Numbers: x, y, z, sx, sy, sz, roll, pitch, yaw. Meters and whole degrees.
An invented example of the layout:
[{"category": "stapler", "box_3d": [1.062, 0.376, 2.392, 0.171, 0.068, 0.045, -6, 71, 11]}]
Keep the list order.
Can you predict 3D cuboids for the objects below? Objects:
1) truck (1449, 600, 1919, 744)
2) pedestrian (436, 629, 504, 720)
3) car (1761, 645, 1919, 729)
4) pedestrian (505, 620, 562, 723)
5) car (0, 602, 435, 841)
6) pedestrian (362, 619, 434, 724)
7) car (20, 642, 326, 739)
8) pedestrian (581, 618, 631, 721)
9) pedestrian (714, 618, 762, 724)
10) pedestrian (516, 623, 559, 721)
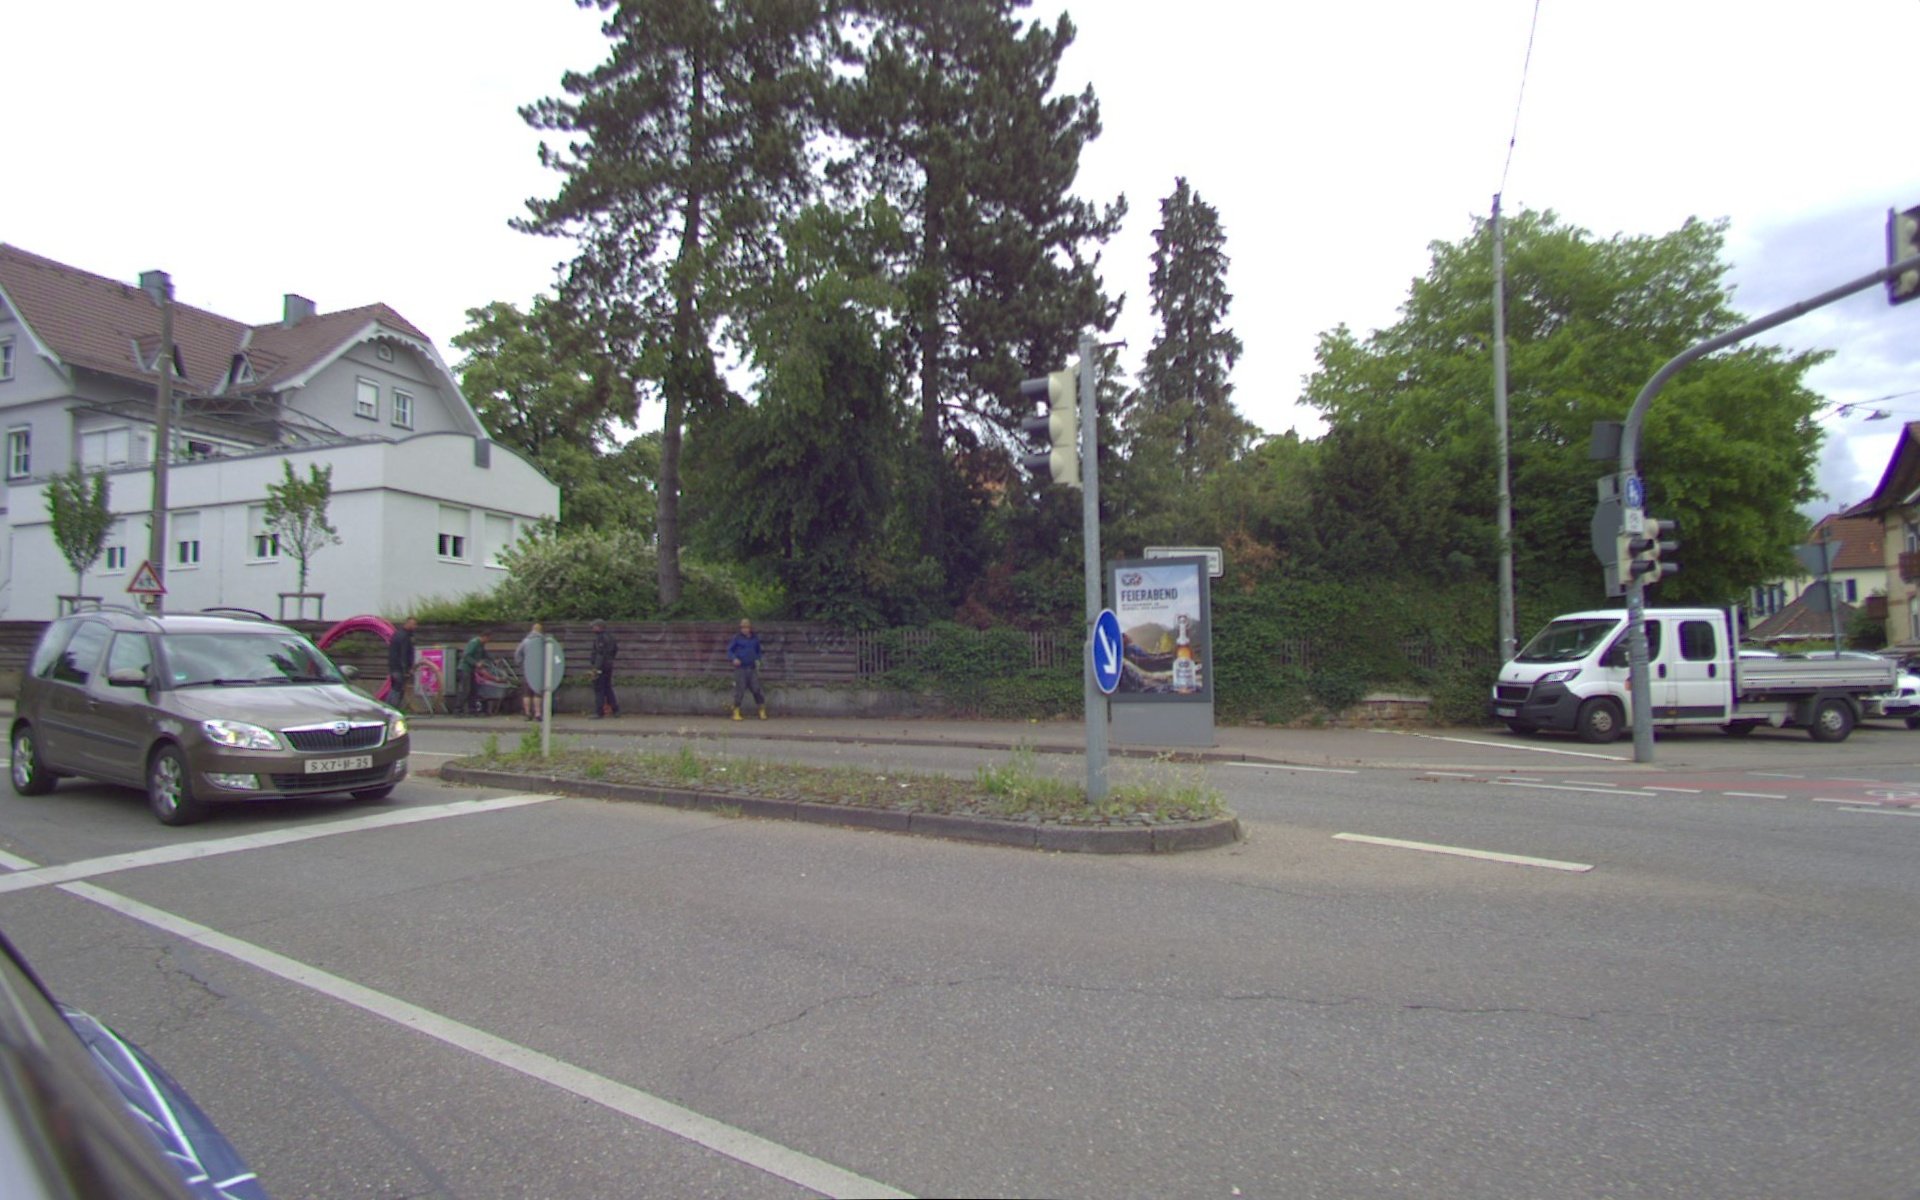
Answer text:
[{"category": "truck", "box_3d": [12.151, 1.190, 17.050, 6.616, 2.205, 2.532, 1, -3, -4]}, {"category": "pedestrian", "box_3d": [-9.260, 1.396, 19.156, 0.743, 1.666, 0.877, 0, -3, 12]}, {"category": "car", "box_3d": [18.964, 1.782, 21.470, 1.987, 1.625, 3.969, -1, -3, 22]}, {"category": "pedestrian", "box_3d": [-7.618, 1.263, 18.100, 0.660, 1.802, 0.610, 0, -4, 13]}, {"category": "car", "box_3d": [-6.361, 0.873, 8.474, 3.985, 1.592, 1.602, -1, -2, 30]}, {"category": "pedestrian", "box_3d": [-10.136, 1.275, 18.266, 0.681, 1.828, 0.877, 0, -3, 12]}, {"category": "car", "box_3d": [-12.296, 1.382, 15.869, 3.966, 1.367, 1.798, -1, -5, 17]}, {"category": "pedestrian", "box_3d": [-6.483, 1.269, 18.540, 0.606, 1.849, 0.602, 0, -4, 11]}, {"category": "pedestrian", "box_3d": [-3.974, 1.269, 18.180, 0.606, 1.849, 0.676, 0, -4, 10]}, {"category": "pedestrian", "box_3d": [-7.975, 1.356, 19.116, 0.500, 1.827, 0.507, 0, -4, 13]}]
